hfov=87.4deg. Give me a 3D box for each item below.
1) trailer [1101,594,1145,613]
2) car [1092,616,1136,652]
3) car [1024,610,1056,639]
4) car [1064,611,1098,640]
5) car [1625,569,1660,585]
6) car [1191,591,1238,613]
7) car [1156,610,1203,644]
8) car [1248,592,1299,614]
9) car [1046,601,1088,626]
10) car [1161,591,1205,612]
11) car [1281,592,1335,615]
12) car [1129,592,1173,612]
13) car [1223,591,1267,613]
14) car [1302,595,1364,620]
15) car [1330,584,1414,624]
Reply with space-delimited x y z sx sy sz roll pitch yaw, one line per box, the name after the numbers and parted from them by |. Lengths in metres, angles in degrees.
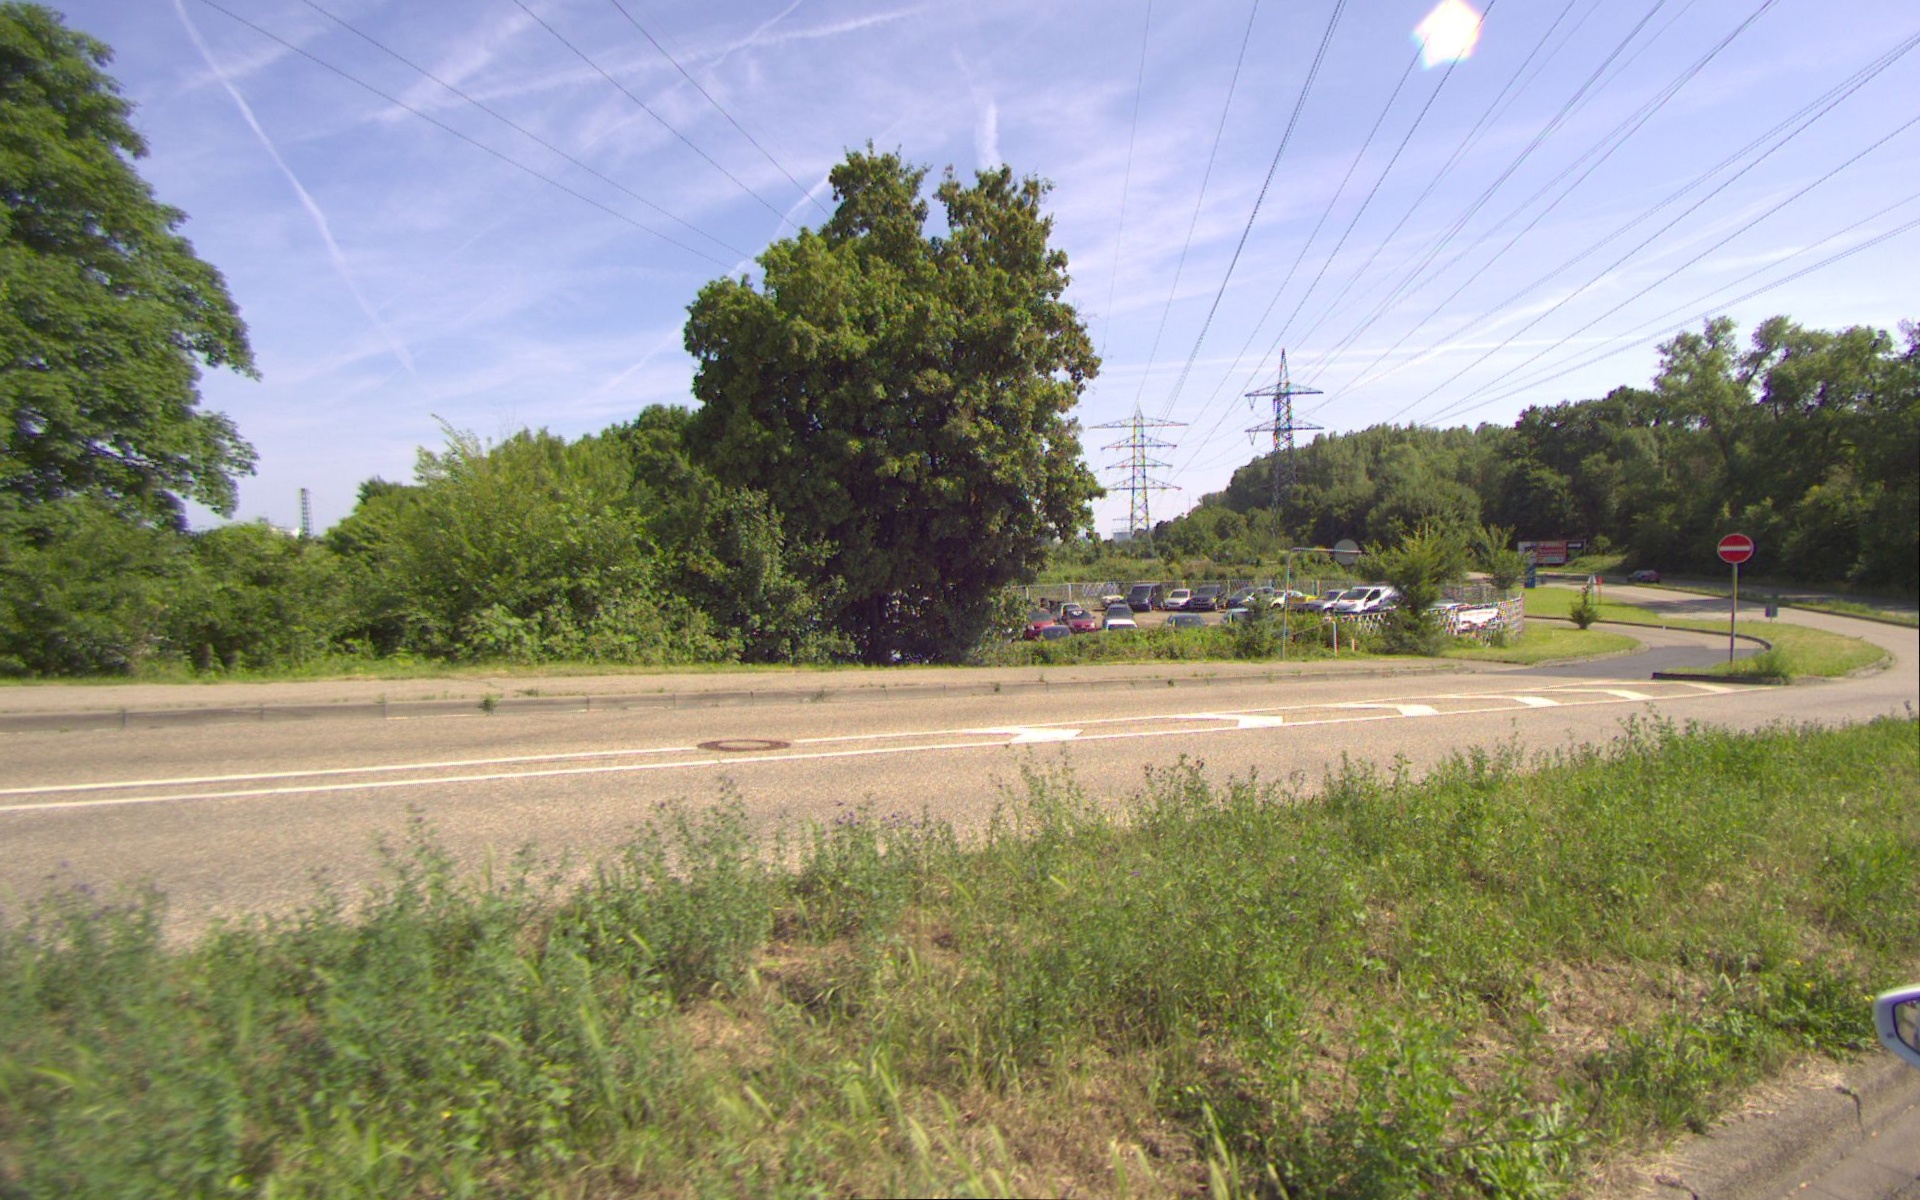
12.139 0.251 74.712 2.855 1.275 1.494 -2 2 -17 | trailer
6.710 1.450 43.977 1.567 1.311 3.180 -1 2 2 | car
4.257 1.312 53.874 1.567 1.311 3.180 -1 2 2 | car
6.465 1.347 54.019 1.567 1.311 3.180 -1 2 2 | car
72.506 -2.439 106.741 1.619 1.587 3.658 -1 2 7 | car
17.818 0.130 70.252 3.617 1.311 1.578 -4 3 -45 | car
10.065 1.224 46.194 1.567 1.311 3.180 -1 2 2 | car
20.852 0.178 66.754 3.613 1.311 1.579 -3 3 -42 | car
6.421 0.796 60.414 1.571 1.311 3.172 -2 2 -12 | car
16.180 0.084 72.684 1.575 1.311 3.622 0 3 40 | car
22.600 0.190 65.158 3.606 1.311 1.582 -3 3 -37 | car
13.898 0.131 73.064 1.575 1.311 3.622 0 3 40 | car
19.544 0.138 68.798 1.575 1.311 3.622 0 3 40 | car
22.500 0.440 60.541 3.597 1.311 1.586 -3 3 -30 | car
23.823 0.180 58.004 4.666 2.069 1.687 -2 2 -22 | car
